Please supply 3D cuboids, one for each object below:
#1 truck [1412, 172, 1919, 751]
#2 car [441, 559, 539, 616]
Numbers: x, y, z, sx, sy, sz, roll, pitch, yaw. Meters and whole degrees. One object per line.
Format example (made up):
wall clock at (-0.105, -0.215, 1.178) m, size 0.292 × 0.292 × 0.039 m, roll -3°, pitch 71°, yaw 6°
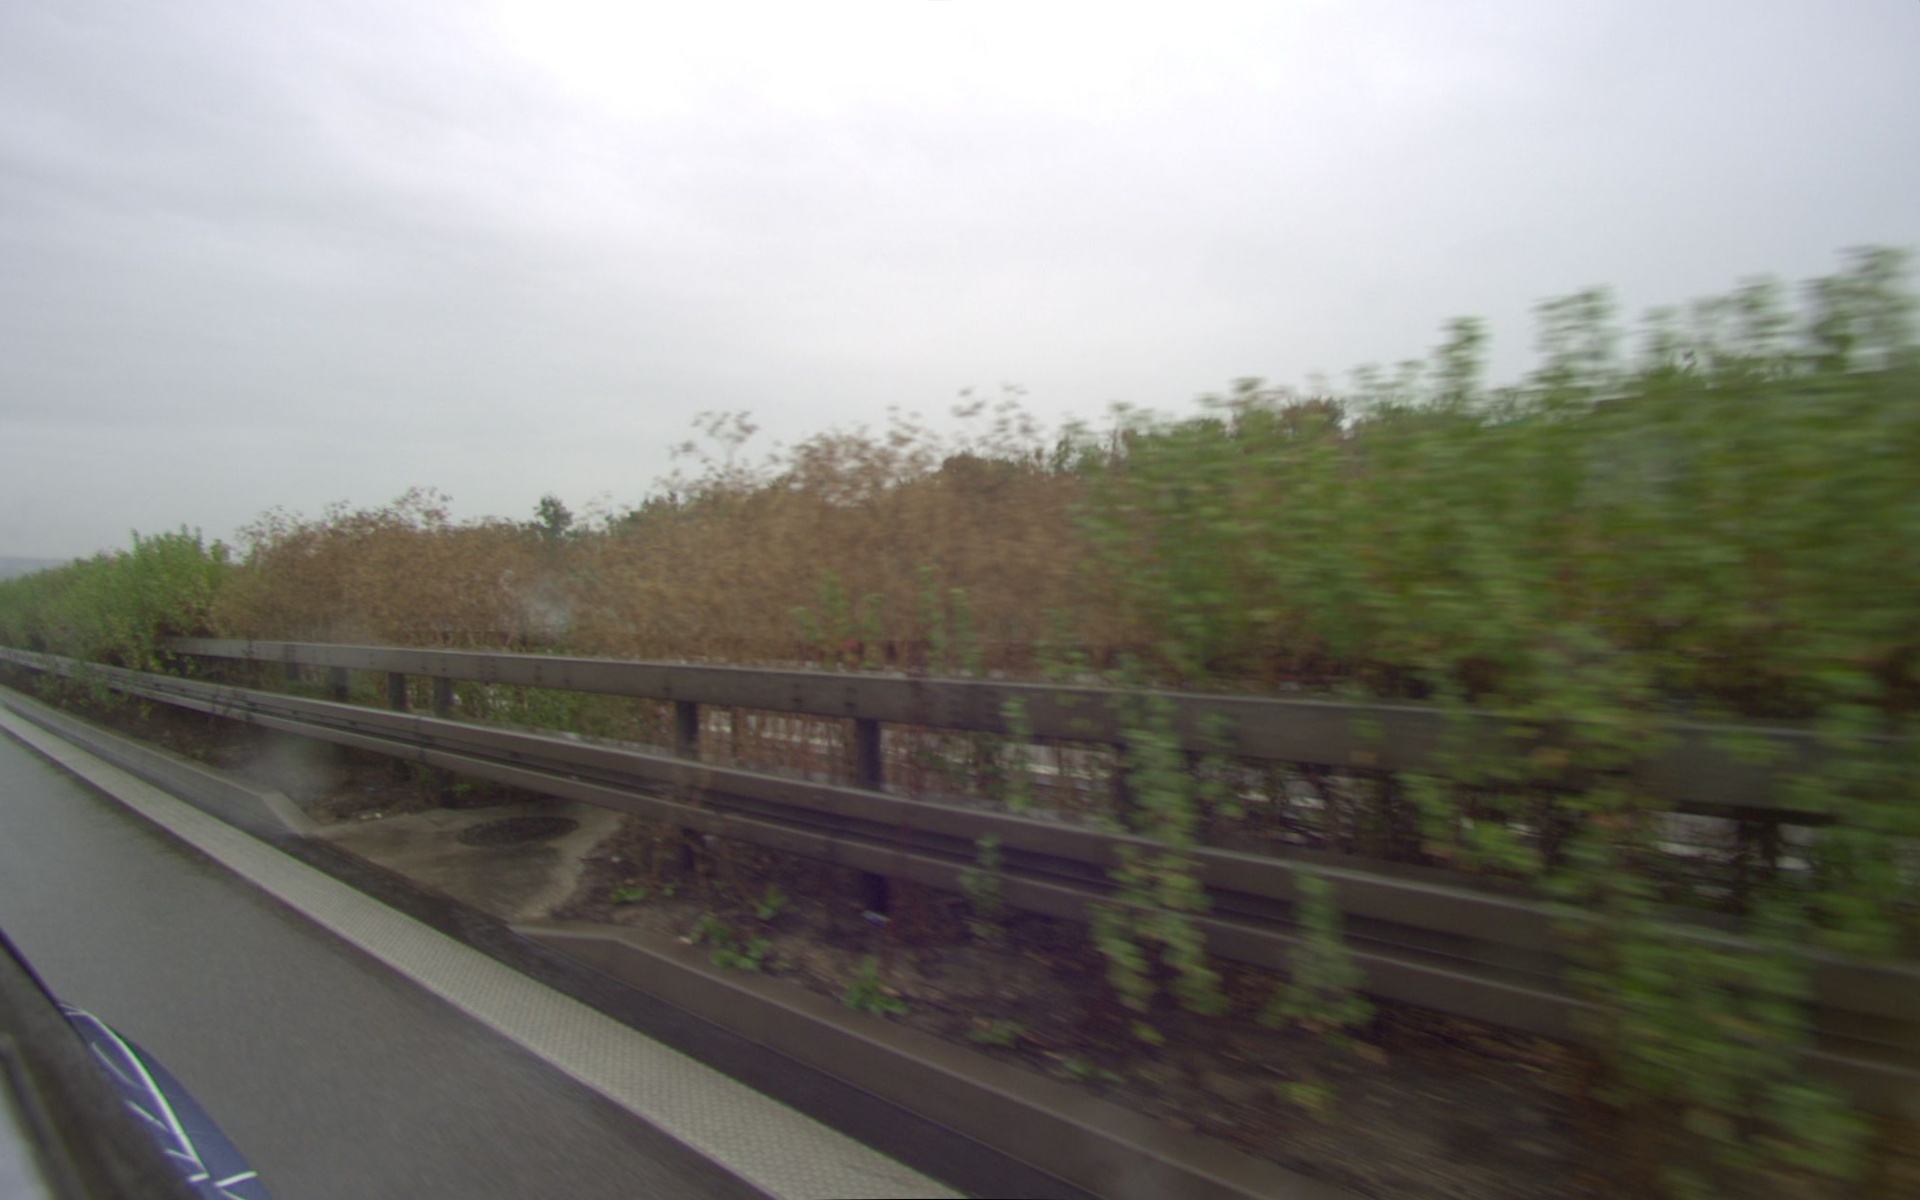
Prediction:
truck at (13.684, -1.534, 10.386) m, size 16.001 × 6.172 × 4.068 m, roll -1°, pitch -1°, yaw 43°
car at (-18.015, -0.441, 38.709) m, size 3.998 × 2.029 × 1.973 m, roll -1°, pitch -1°, yaw 41°
